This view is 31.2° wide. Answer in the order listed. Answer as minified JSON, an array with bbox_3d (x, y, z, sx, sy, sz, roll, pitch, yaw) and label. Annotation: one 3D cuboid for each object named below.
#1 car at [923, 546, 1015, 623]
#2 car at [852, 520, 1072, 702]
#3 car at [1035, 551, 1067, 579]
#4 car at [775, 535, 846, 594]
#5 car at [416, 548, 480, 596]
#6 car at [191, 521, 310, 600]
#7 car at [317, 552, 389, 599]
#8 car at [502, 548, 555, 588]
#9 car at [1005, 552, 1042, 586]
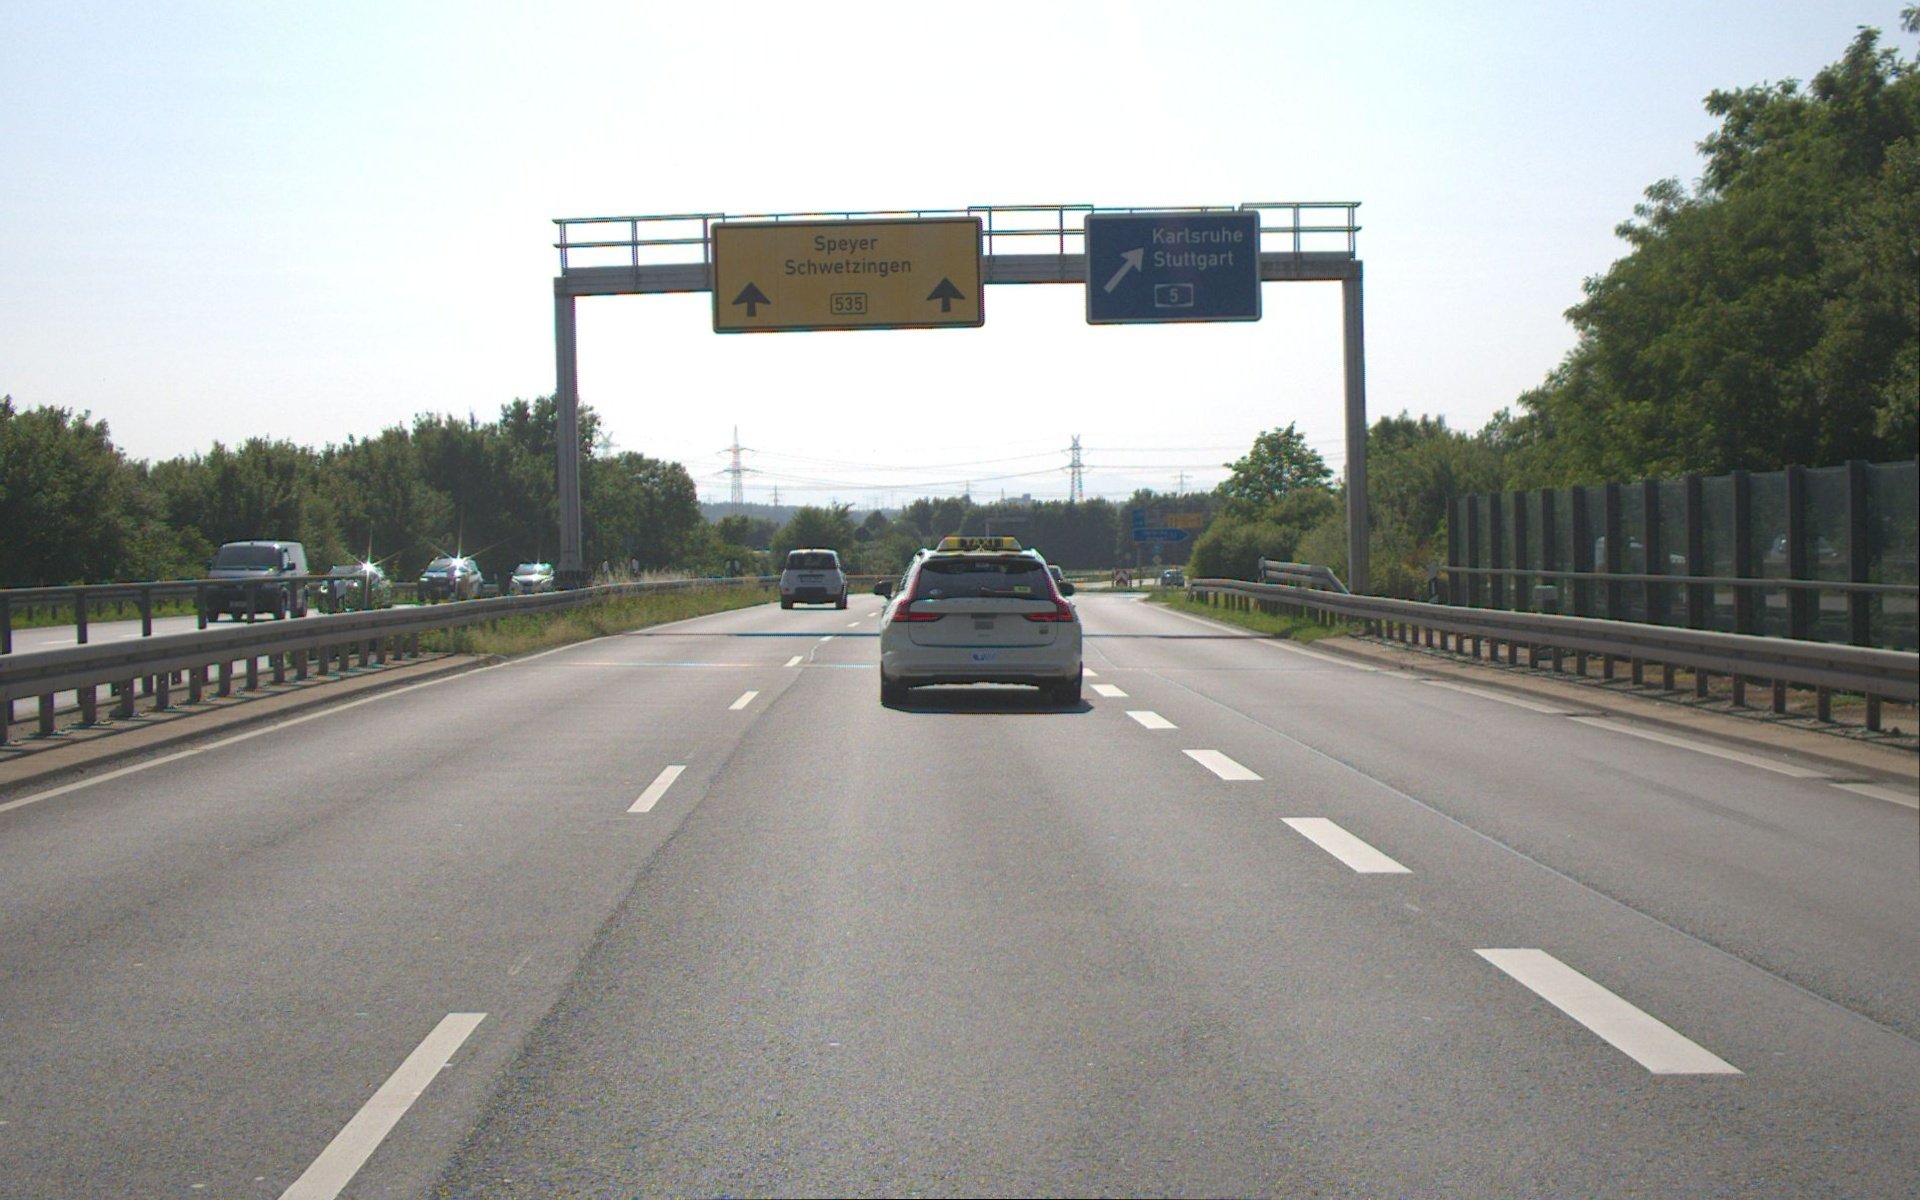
[{"bbox_3d":[0.166,-0.332,70.942,1.793,1.538,3.672,0,1,-2],"label":"car"},{"bbox_3d":[-0.018,0.053,32.908,1.958,1.596,4.107,1,1,-1],"label":"car"},{"bbox_3d":[5.630,-2.185,212.696,1.841,1.692,4.000,0,0,0],"label":"car"},{"bbox_3d":[-3.877,-0.933,89.701,1.793,1.498,4.043,0,1,-2],"label":"car"},{"bbox_3d":[-17.745,-0.990,119.298,1.732,1.611,4.003,0,1,-2],"label":"car"},{"bbox_3d":[-17.511,-0.999,85.065,1.993,1.899,4.418,0,1,0],"label":"car"},{"bbox_3d":[-17.556,-0.721,99.537,1.566,1.265,3.716,0,2,-2],"label":"car"},{"bbox_3d":[-18.239,-1.359,145.569,1.901,1.614,4.630,1,1,-3],"label":"car"},{"bbox_3d":[3.424,-1.684,186.077,1.841,1.796,4.000,0,0,-1],"label":"car"}]
